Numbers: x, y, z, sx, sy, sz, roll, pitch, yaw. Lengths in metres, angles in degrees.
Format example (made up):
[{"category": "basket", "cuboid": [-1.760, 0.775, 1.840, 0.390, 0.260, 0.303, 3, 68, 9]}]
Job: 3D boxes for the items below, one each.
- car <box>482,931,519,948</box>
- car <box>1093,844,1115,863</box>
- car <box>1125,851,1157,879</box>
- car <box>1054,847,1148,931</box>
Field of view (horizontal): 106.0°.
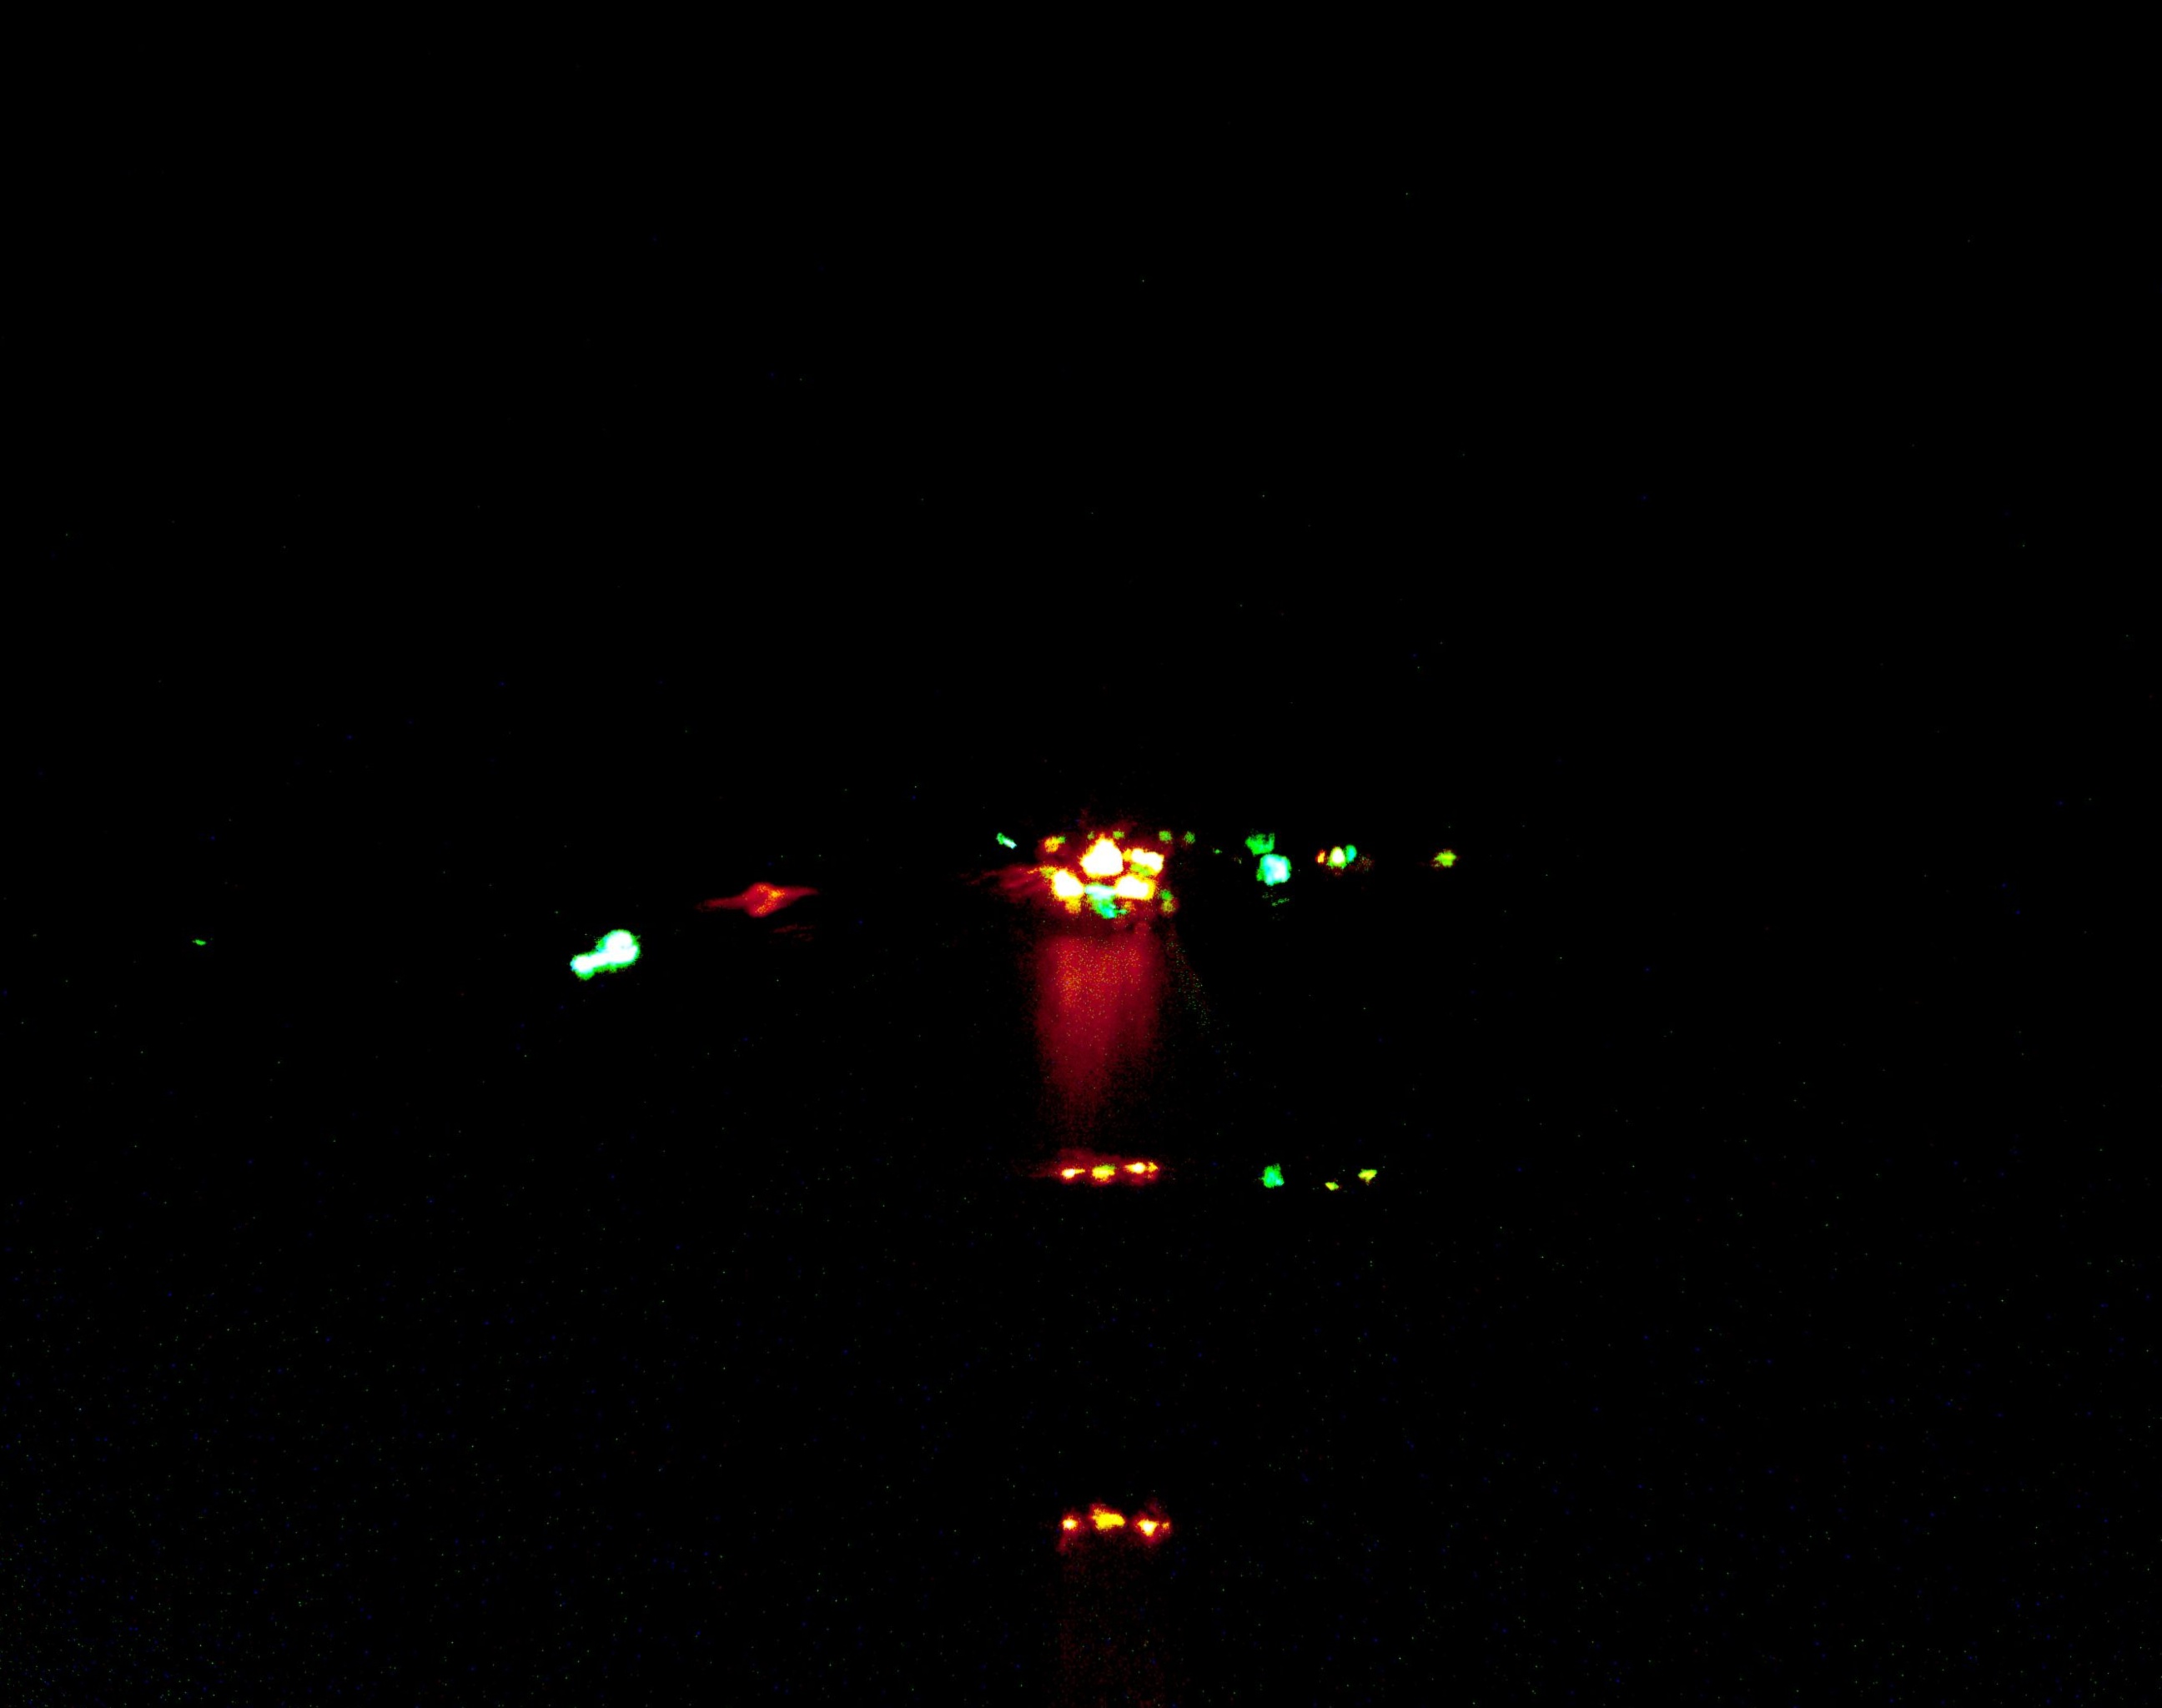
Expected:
[{"category": "car", "cuboid": [-55.456, 8.123, 77.774, 4.046, 1.425, 1.757, -5, -2, 37]}, {"category": "car", "cuboid": [2.491, -0.025, 89.689, 1.893, 1.998, 4.036, -1, -1, -6]}, {"category": "car", "cuboid": [3.813, 0.709, 51.608, 1.886, 1.721, 4.050, -1, -1, 4]}, {"category": "car", "cuboid": [0.468, 0.701, 18.185, 1.853, 1.647, 4.070, -1, 0, 2]}]
